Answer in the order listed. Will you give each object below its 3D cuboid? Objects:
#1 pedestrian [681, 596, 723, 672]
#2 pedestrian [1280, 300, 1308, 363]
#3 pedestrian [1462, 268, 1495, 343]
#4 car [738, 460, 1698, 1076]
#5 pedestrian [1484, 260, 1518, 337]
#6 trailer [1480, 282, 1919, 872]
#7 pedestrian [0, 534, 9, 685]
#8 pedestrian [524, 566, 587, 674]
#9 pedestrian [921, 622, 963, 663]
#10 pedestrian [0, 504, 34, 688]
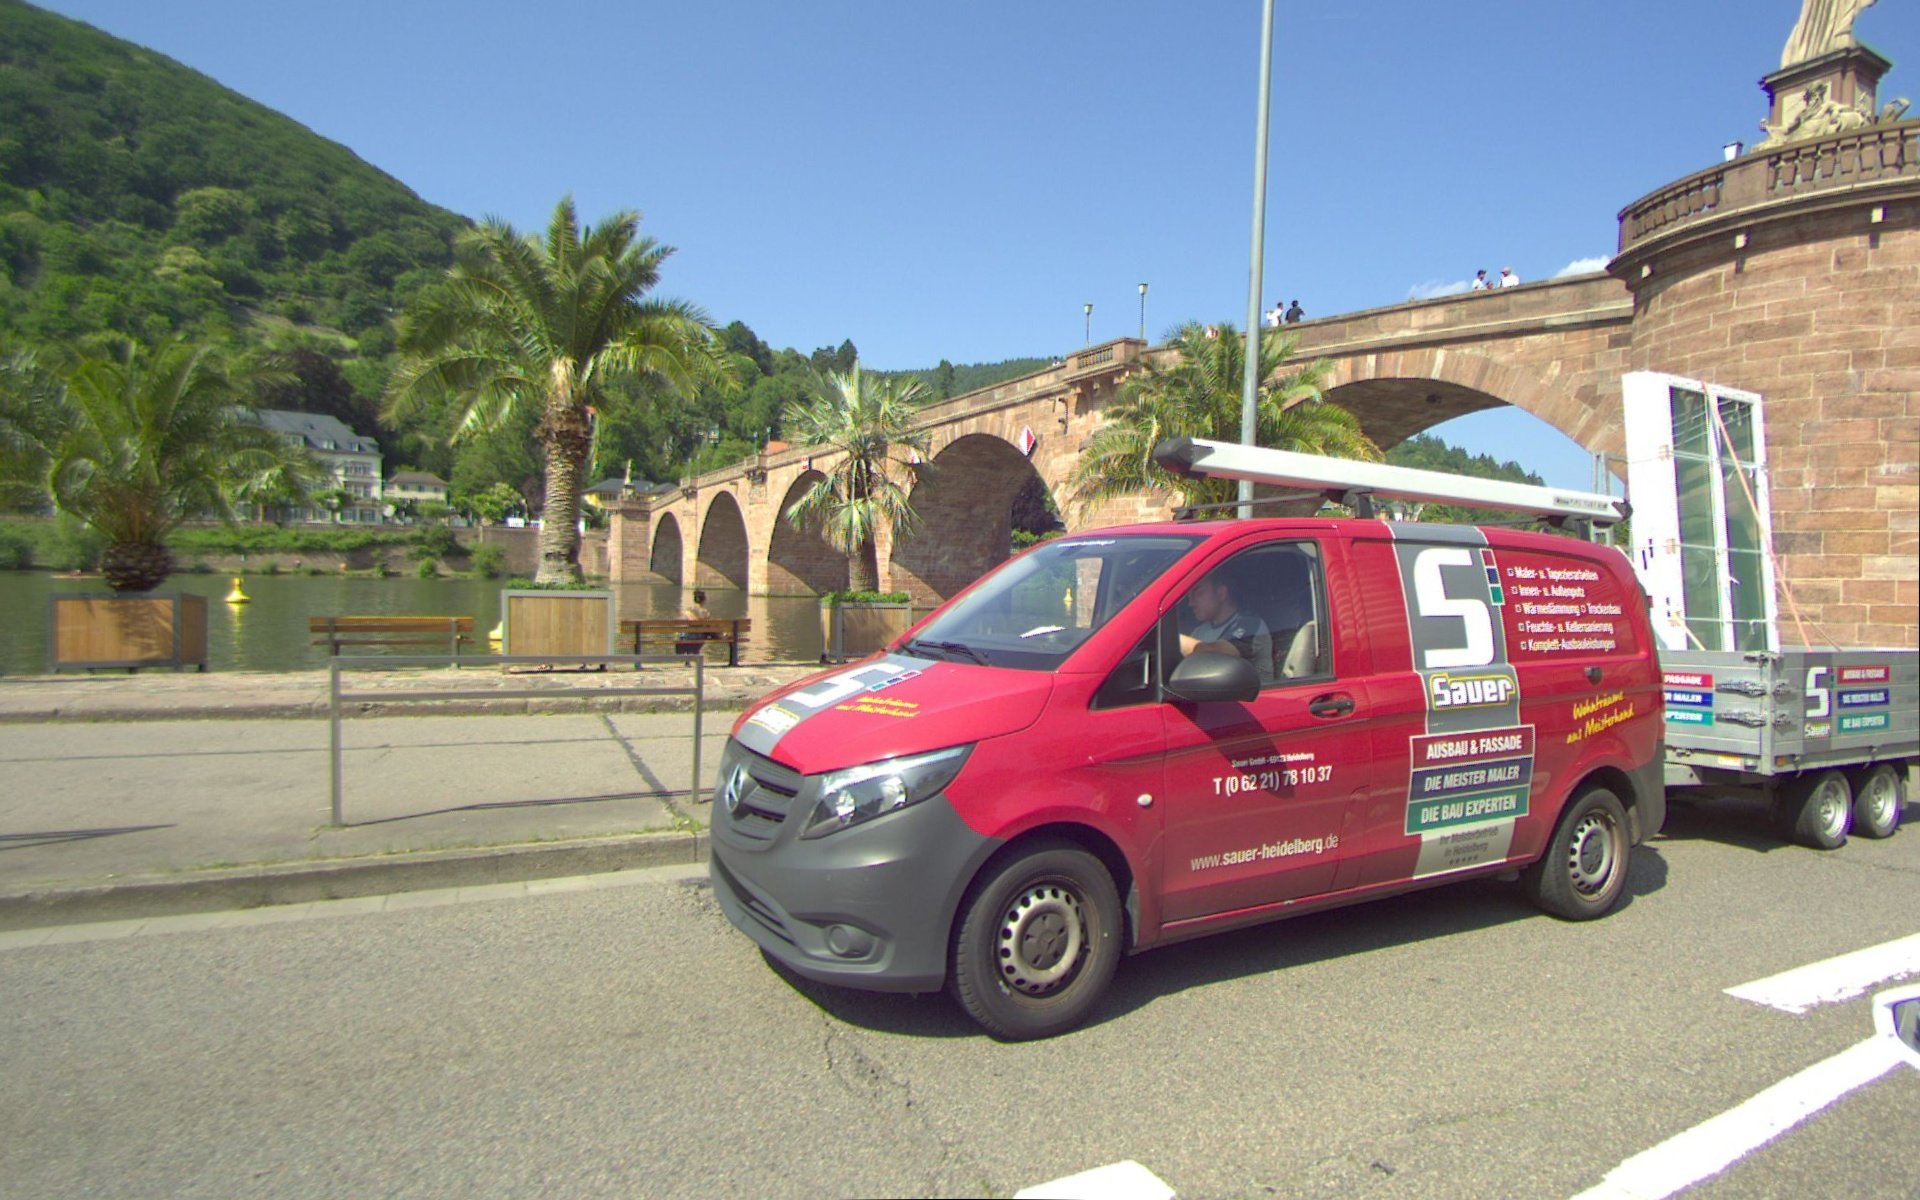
[{"bbox_3d":[-4.102,0.533,15.953,0.500,1.160,0.939,1,-1,-23],"label":"pedestrian"},{"bbox_3d":[12.222,-9.793,36.729,0.619,2.040,0.689,1,0,-32],"label":"pedestrian"},{"bbox_3d":[15.851,-8.982,30.696,0.688,2.040,0.619,1,0,-36],"label":"pedestrian"},{"bbox_3d":[1.380,0.547,4.922,4.487,1.852,1.867,1,0,-28],"label":"car"},{"bbox_3d":[16.280,-9.065,30.247,0.688,2.040,0.619,1,0,-36],"label":"pedestrian"},{"bbox_3d":[5.658,-0.092,7.282,3.341,3.364,1.735,1,-1,-28],"label":"trailer"},{"bbox_3d":[-10.283,0.072,9.891,1.102,1.554,0.790,2,-3,-28],"label":"pedestrian"},{"bbox_3d":[-6.269,0.293,15.581,0.667,1.622,0.594,2,1,27],"label":"pedestrian"},{"bbox_3d":[-0.354,0.836,19.721,0.595,0.752,0.694,1,1,-24],"label":"pedestrian"},{"bbox_3d":[-9.346,-0.052,9.400,0.783,1.714,0.843,3,2,34],"label":"pedestrian"}]
